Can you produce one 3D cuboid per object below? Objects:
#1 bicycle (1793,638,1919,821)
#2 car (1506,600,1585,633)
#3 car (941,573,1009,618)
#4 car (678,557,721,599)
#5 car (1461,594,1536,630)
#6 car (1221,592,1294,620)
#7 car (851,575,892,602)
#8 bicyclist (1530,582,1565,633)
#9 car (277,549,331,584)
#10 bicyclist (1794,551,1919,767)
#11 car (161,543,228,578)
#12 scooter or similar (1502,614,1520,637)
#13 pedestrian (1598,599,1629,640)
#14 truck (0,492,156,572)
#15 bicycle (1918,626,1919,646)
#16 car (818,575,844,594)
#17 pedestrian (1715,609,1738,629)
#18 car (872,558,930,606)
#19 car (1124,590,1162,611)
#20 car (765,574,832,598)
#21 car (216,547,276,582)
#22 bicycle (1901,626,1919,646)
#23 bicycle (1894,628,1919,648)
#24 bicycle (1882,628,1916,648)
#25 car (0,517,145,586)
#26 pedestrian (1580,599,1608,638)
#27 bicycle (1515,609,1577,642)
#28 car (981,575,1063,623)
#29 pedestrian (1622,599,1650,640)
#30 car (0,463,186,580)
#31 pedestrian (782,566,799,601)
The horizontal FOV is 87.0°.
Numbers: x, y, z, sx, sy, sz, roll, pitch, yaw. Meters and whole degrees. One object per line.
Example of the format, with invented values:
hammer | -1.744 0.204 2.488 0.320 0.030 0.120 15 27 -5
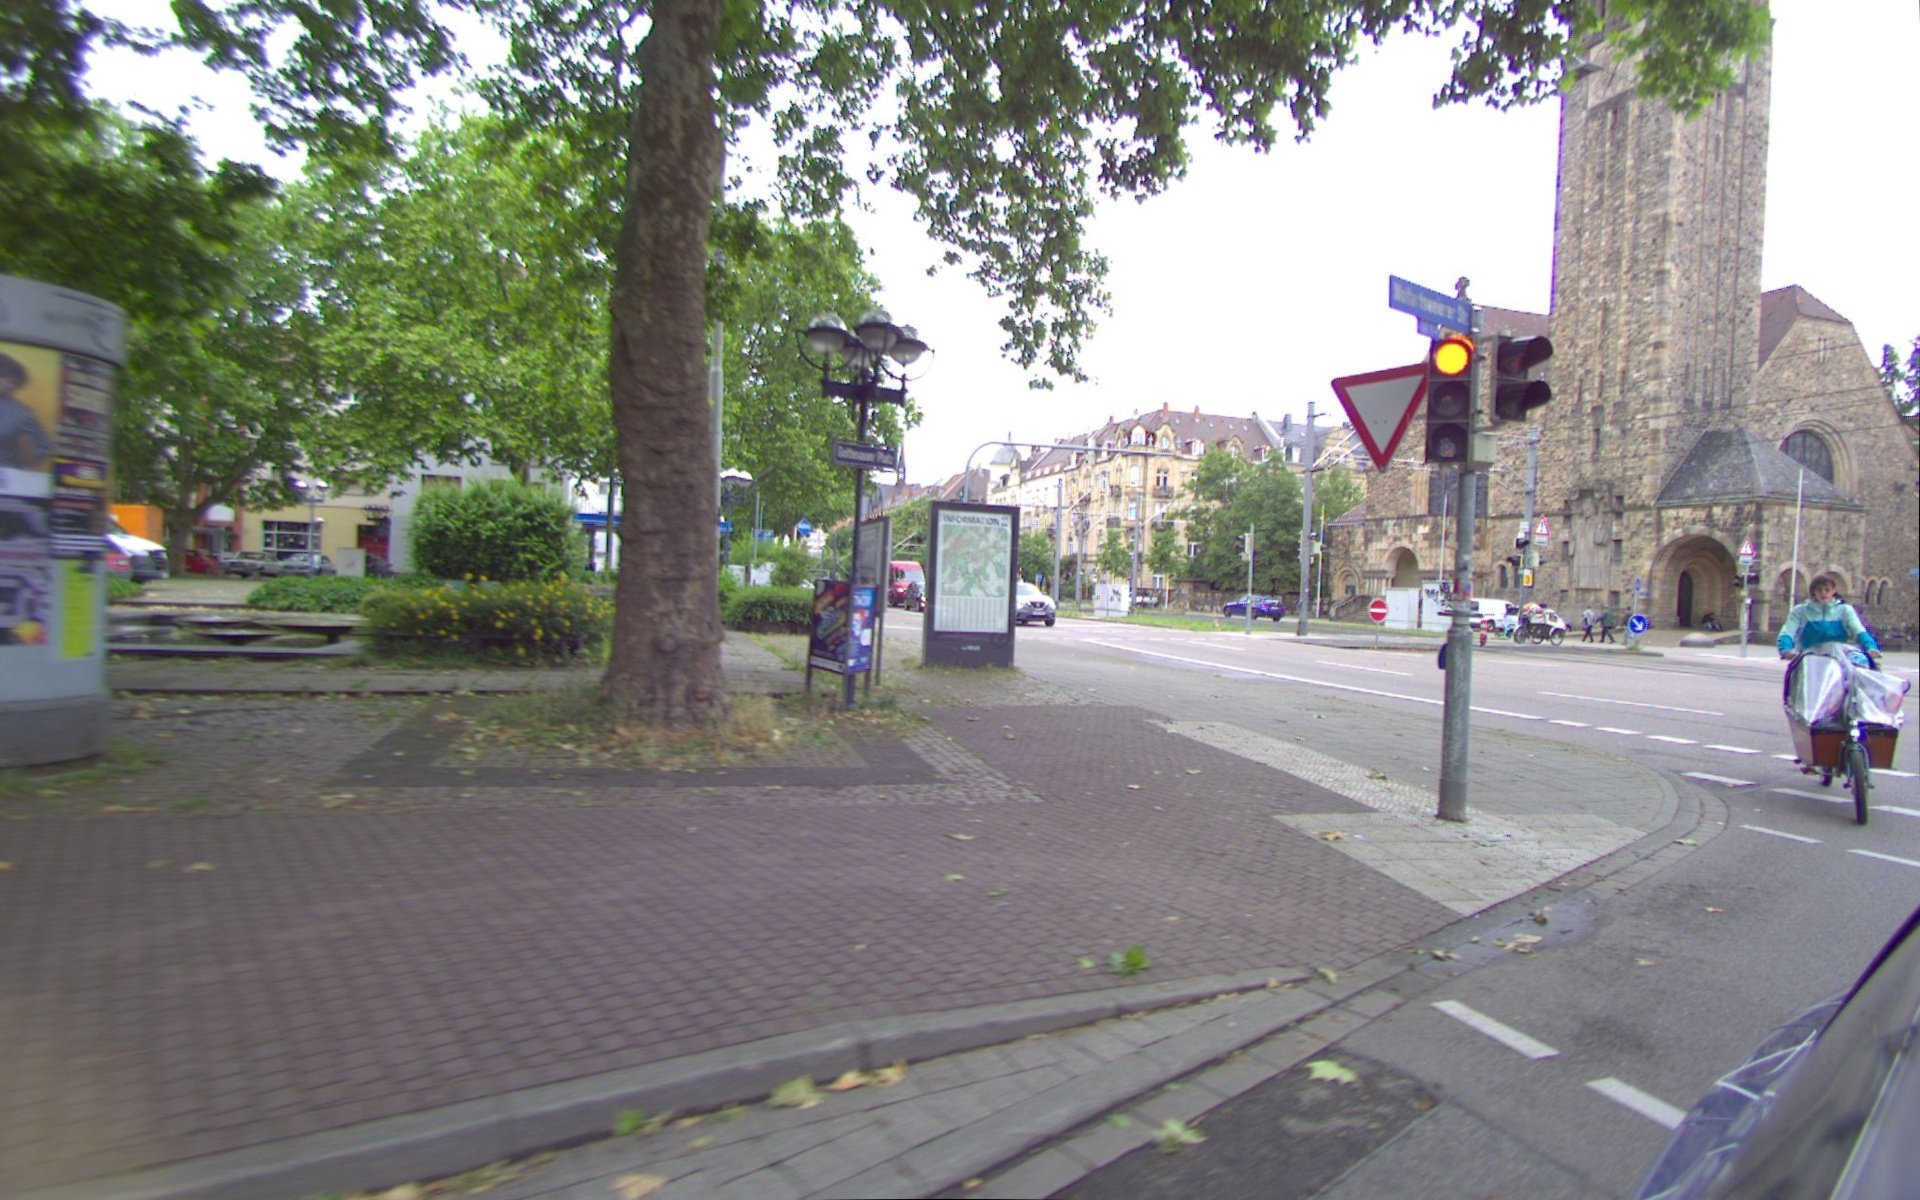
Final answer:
bicycle | 6.885 0.910 7.798 0.492 1.112 2.112 3 2 34
car | 30.878 0.880 53.388 3.394 1.549 1.622 2 1 -14
car | 0.592 -0.213 42.739 1.651 1.732 3.959 2 1 -17
car | -14.338 -1.223 55.491 1.950 2.122 5.100 2 1 -17
car | 30.160 0.664 56.748 3.394 1.815 1.691 2 1 -14
car | 17.756 0.357 60.562 1.783 1.423 4.329 2 1 -23
car | -5.634 -0.776 64.006 1.651 1.549 4.159 2 1 -17
bicyclist | 19.906 0.260 34.279 0.738 1.674 0.617 2 0 -19
car | -33.640 -1.732 51.985 1.481 1.642 3.823 2 1 -20
bicyclist | 6.989 0.423 7.818 0.683 1.536 1.045 3 1 34
car | -38.525 -1.978 51.019 1.481 1.642 3.823 2 1 -17
scooter or similar | 26.557 1.210 48.775 0.235 1.066 0.775 2 1 -15
pedestrian | 29.995 0.882 46.443 0.952 1.780 0.806 2 3 -40
truck | -32.101 -2.423 36.996 3.920 2.623 2.390 2 1 -32
bicycle | 55.848 2.125 58.012 0.304 1.161 1.347 3 1 -18
car | -11.451 -1.385 89.351 1.651 1.549 3.476 2 1 -17
pedestrian | 39.662 0.975 52.389 0.602 0.963 0.675 3 1 -18
car | -3.430 -1.060 57.641 1.950 2.570 5.624 2 1 -17
car | 15.375 0.015 85.286 1.651 1.549 3.476 2 1 -17
car | -10.382 -0.907 64.981 4.011 1.390 1.739 2 1 -16
car | -36.013 -1.804 51.120 1.481 1.642 3.823 2 1 -20
bicycle | 54.507 2.073 57.618 0.304 1.073 1.387 3 1 -18
bicycle | 53.936 2.142 57.379 0.304 1.073 1.387 3 1 -18
bicycle | 53.209 2.154 57.367 0.304 1.073 1.387 3 1 -18
car | -21.398 -1.144 22.928 4.205 1.416 1.740 2 1 -21
pedestrian | 28.872 0.837 46.090 0.950 1.693 0.635 3 2 -34
bicycle | 19.865 0.869 34.309 2.017 1.008 0.554 2 1 -18
car | 2.219 -0.068 37.311 1.651 1.581 3.999 2 1 -17
pedestrian | 29.915 0.864 44.774 0.952 1.706 0.676 2 3 -41
car | -23.262 -1.979 25.601 5.332 2.672 2.247 2 1 -21
pedestrian | -7.849 -0.756 46.861 0.695 1.590 0.573 2 0 -17
